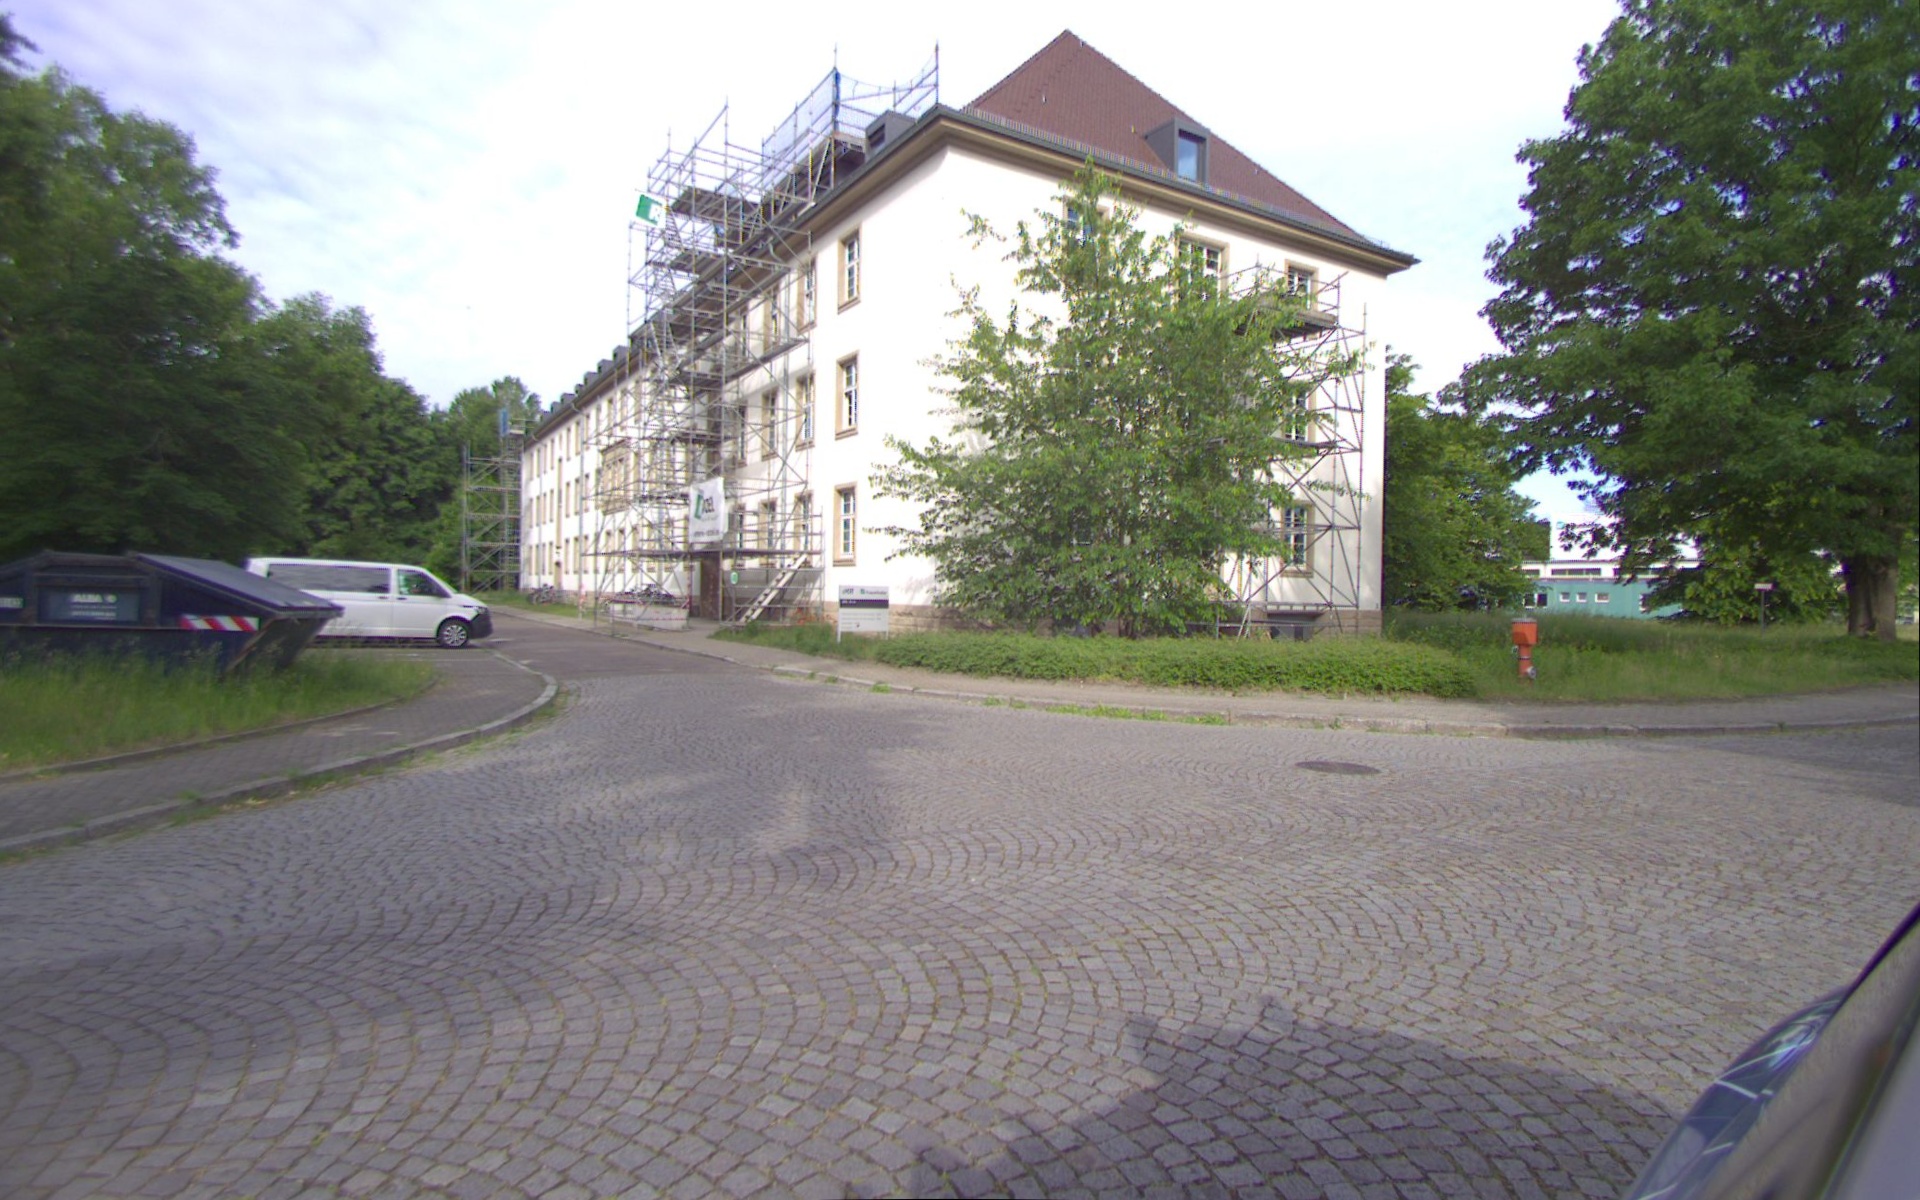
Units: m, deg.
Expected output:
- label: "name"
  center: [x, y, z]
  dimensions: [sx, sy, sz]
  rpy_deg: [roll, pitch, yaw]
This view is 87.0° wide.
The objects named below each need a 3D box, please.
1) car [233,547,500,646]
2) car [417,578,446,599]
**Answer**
- label: "car"
  center: [-13.740, -0.022, 23.696]
  dimensions: [5.115, 2.086, 2.189]
  rpy_deg: [2, -1, -32]
- label: "car"
  center: [-43.506, -0.937, 83.276]
  dimensions: [2.028, 1.614, 4.004]
  rpy_deg: [4, -2, -29]
